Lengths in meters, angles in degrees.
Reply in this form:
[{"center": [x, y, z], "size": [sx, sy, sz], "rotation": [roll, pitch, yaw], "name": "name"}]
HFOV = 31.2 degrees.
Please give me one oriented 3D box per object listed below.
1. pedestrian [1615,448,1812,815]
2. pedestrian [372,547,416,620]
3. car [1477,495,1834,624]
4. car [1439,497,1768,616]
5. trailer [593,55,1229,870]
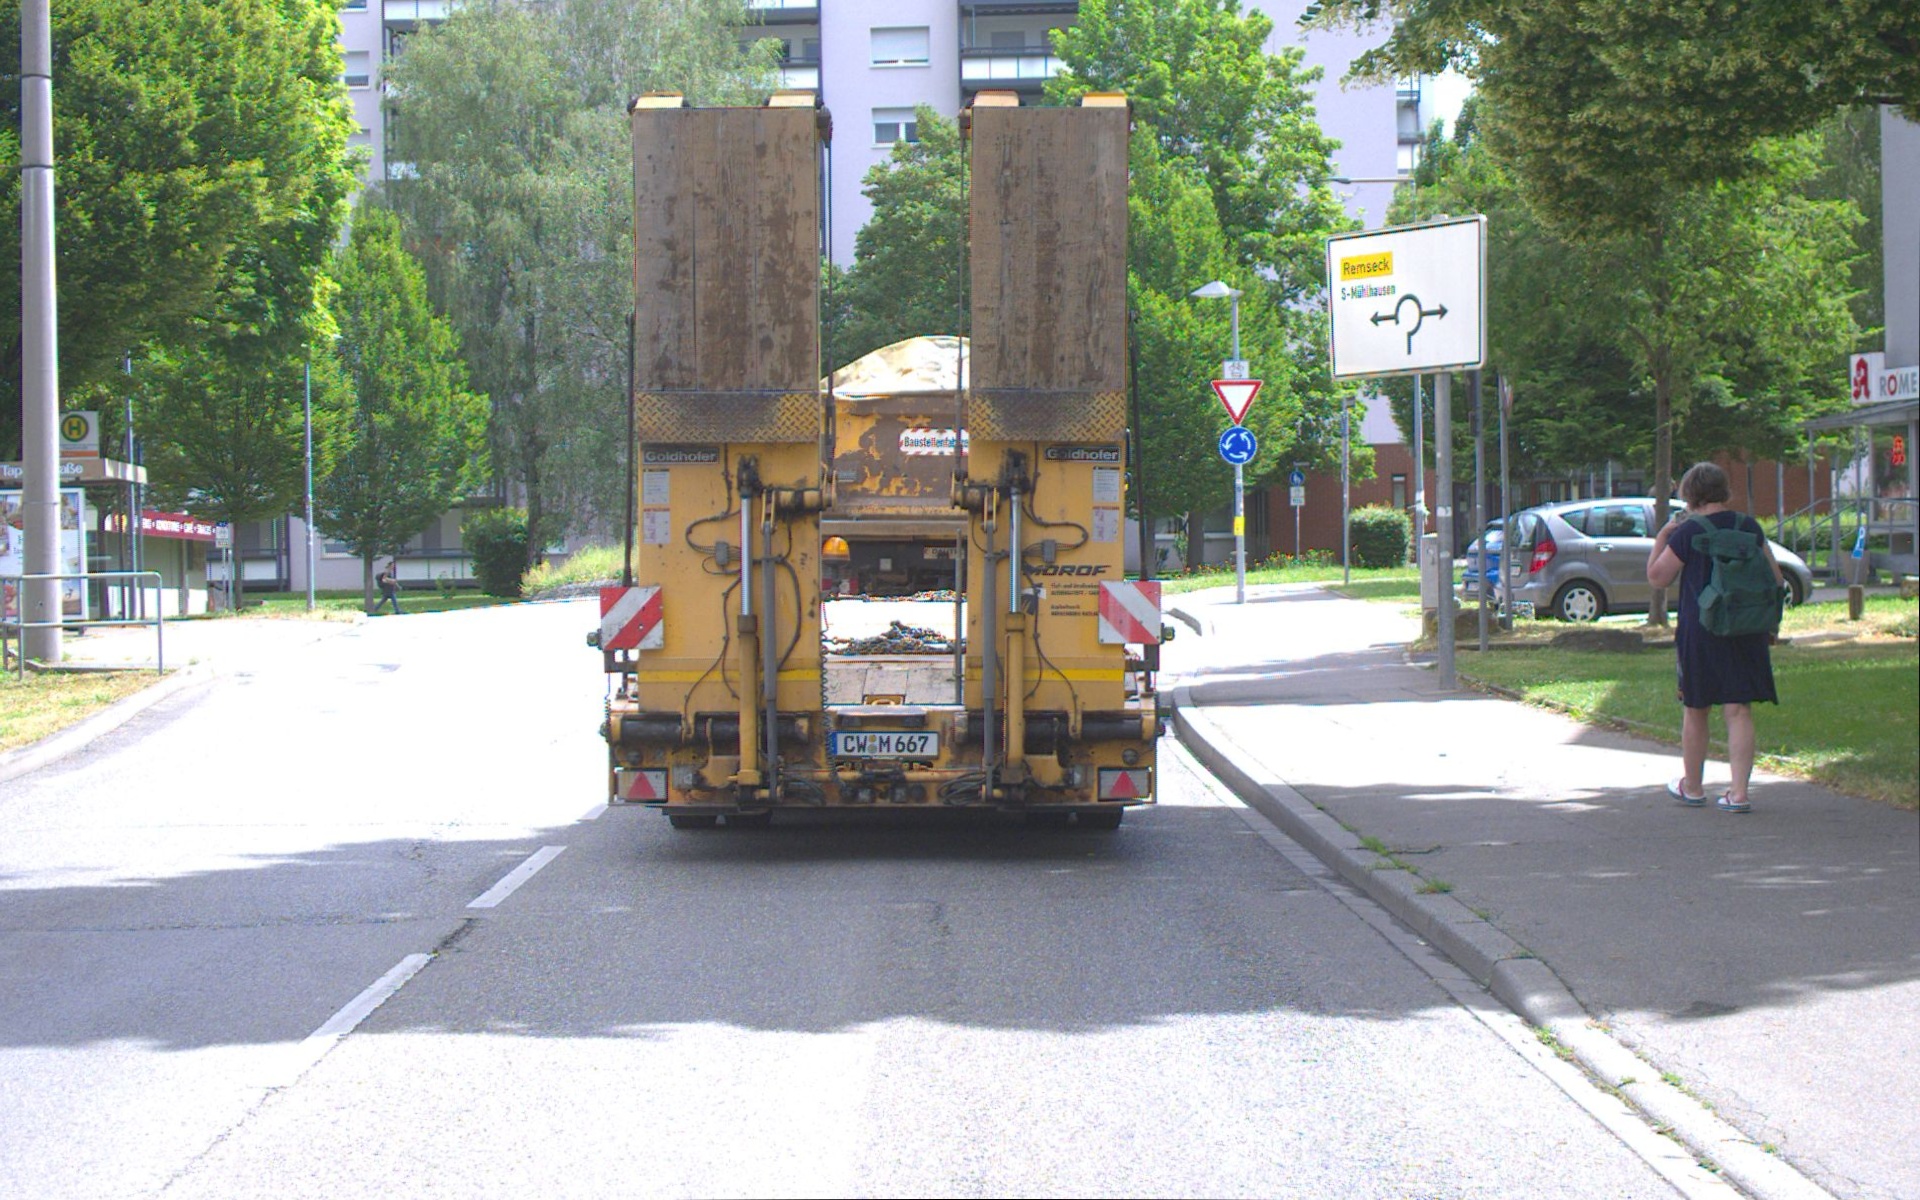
[{"center": [3.617, 0.136, 16.547], "size": [0.718, 1.700, 0.766], "rotation": [-2, 2, -1], "name": "pedestrian"}, {"center": [-15.765, -0.459, 95.760], "size": [0.907, 2.007, 0.962], "rotation": [0, 1, -31], "name": "pedestrian"}, {"center": [8.681, -0.513, 43.020], "size": [3.986, 1.556, 1.760], "rotation": [0, 1, -12], "name": "car"}, {"center": [8.673, -0.589, 46.448], "size": [3.986, 1.556, 1.760], "rotation": [0, 1, -12], "name": "car"}, {"center": [-0.540, -0.749, 21.631], "size": [2.827, 3.633, 12.356], "rotation": [1, 1, -3], "name": "trailer"}]
